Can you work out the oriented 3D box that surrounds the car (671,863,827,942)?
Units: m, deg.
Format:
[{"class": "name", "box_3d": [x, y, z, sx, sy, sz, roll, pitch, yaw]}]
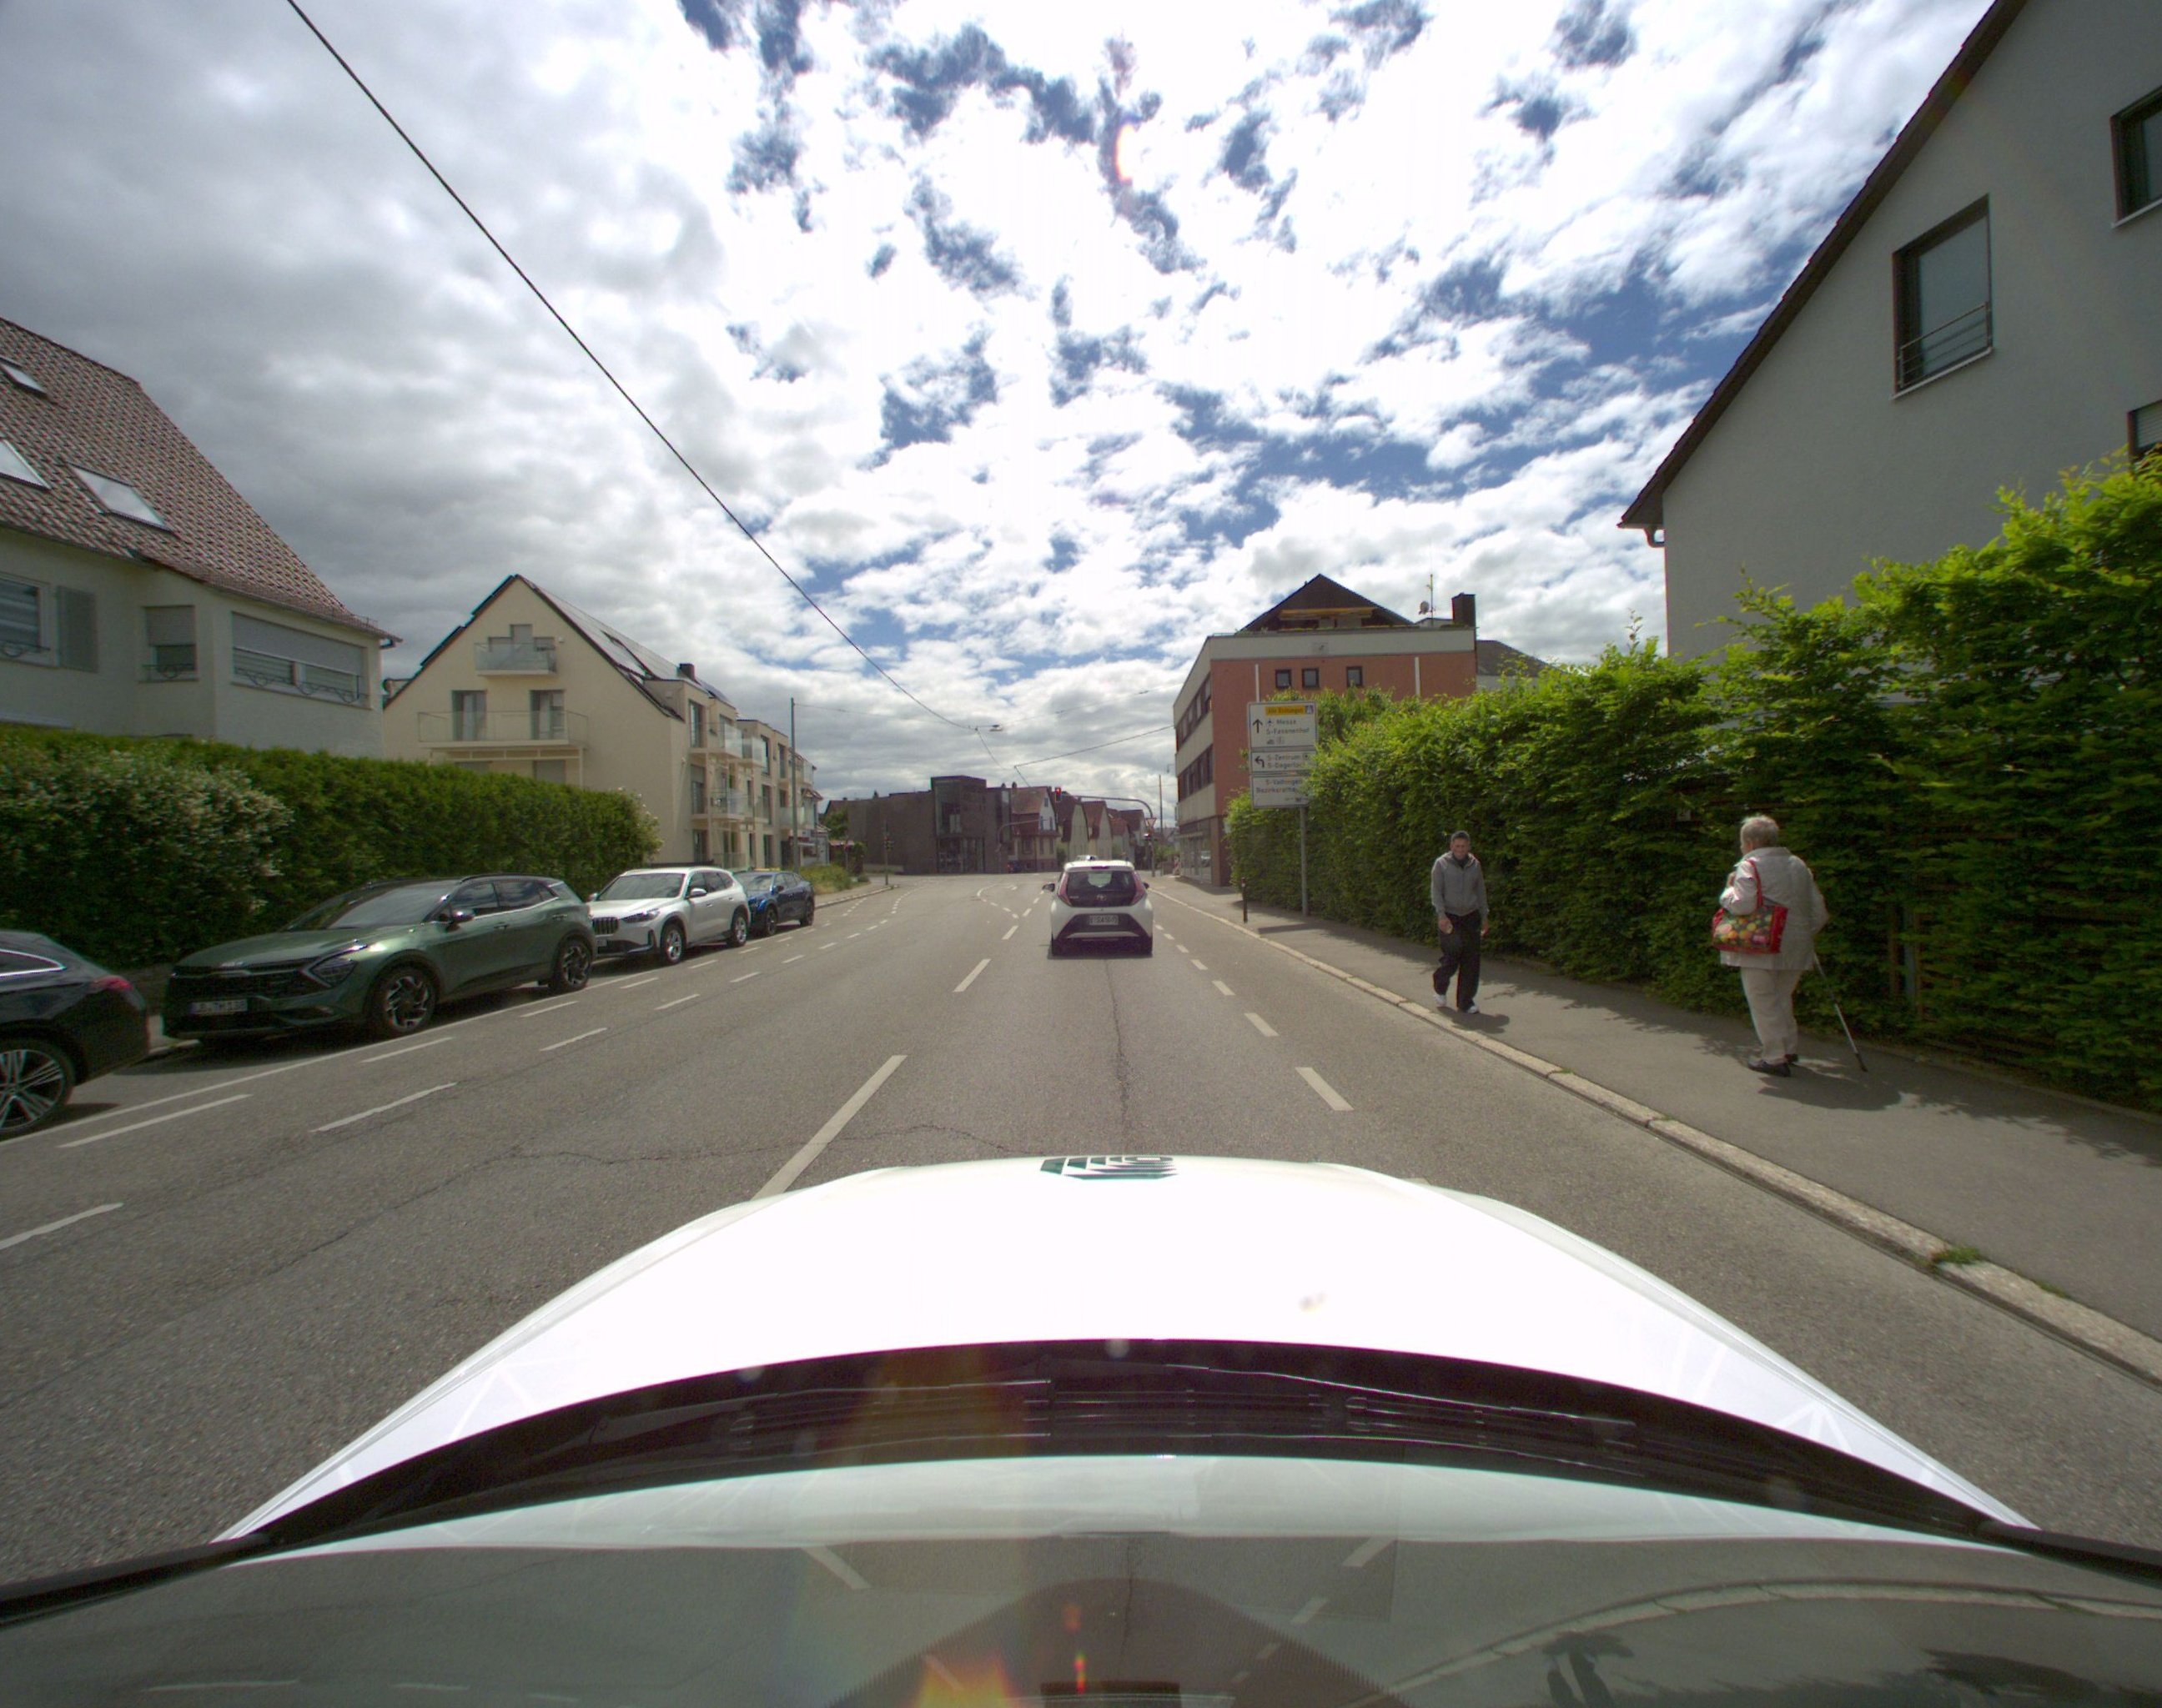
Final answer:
[{"class": "car", "box_3d": [-7.874, 1.069, 19.843, 1.988, 1.587, 4.486, -2, 0, -1]}]

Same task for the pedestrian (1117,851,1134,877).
[{"class": "pedestrian", "box_3d": [2.982, 0.648, 54.394, 0.826, 1.721, 0.810, -1, 0, -26]}]

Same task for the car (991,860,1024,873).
[{"class": "car", "box_3d": [-8.831, 1.503, 97.837, 3.591, 1.605, 1.697, 0, -1, 11]}]

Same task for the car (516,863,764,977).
[{"class": "car", "box_3d": [-7.726, 1.058, 14.913, 1.987, 1.651, 4.517, -2, 0, 0]}]

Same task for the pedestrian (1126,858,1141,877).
[{"class": "pedestrian", "box_3d": [3.491, 0.892, 53.829, 0.737, 1.221, 0.640, -1, 0, -28]}]

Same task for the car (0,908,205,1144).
[{"class": "car", "box_3d": [-7.882, 1.160, 3.971, 1.986, 1.408, 4.692, -2, 0, 2]}]

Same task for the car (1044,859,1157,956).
[{"class": "car", "box_3d": [0.340, 0.813, 13.942, 1.691, 1.456, 3.300, 0, 0, 1]}]

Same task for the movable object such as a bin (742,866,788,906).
[{"class": "movable object such as a bin", "box_3d": [-11.101, 1.114, 28.624, 1.061, 1.313, 1.215, -2, 0, 2]}]

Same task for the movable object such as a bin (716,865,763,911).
[{"class": "movable object such as a bin", "box_3d": [-11.460, 1.120, 27.375, 1.062, 1.482, 1.213, -2, 0, -2]}]

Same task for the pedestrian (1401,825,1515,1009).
[{"class": "pedestrian", "box_3d": [3.518, 0.560, 7.663, 0.600, 1.605, 0.836, -4, 0, 1]}]

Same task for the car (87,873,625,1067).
[{"class": "car", "box_3d": [-7.813, 1.100, 9.635, 1.986, 1.564, 4.692, -2, 0, 2]}]

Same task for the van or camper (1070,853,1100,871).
[{"class": "van or camper", "box_3d": [0.516, 0.916, 92.634, 2.100, 1.926, 5.307, 0, 0, 15]}]

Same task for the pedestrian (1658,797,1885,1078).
[{"class": "pedestrian", "box_3d": [4.319, 0.495, 5.152, 0.796, 1.617, 0.653, -3, 0, 1]}]

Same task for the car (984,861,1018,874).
[{"class": "car", "box_3d": [-9.422, 1.584, 95.711, 3.591, 1.419, 1.697, 0, -1, 11]}]
